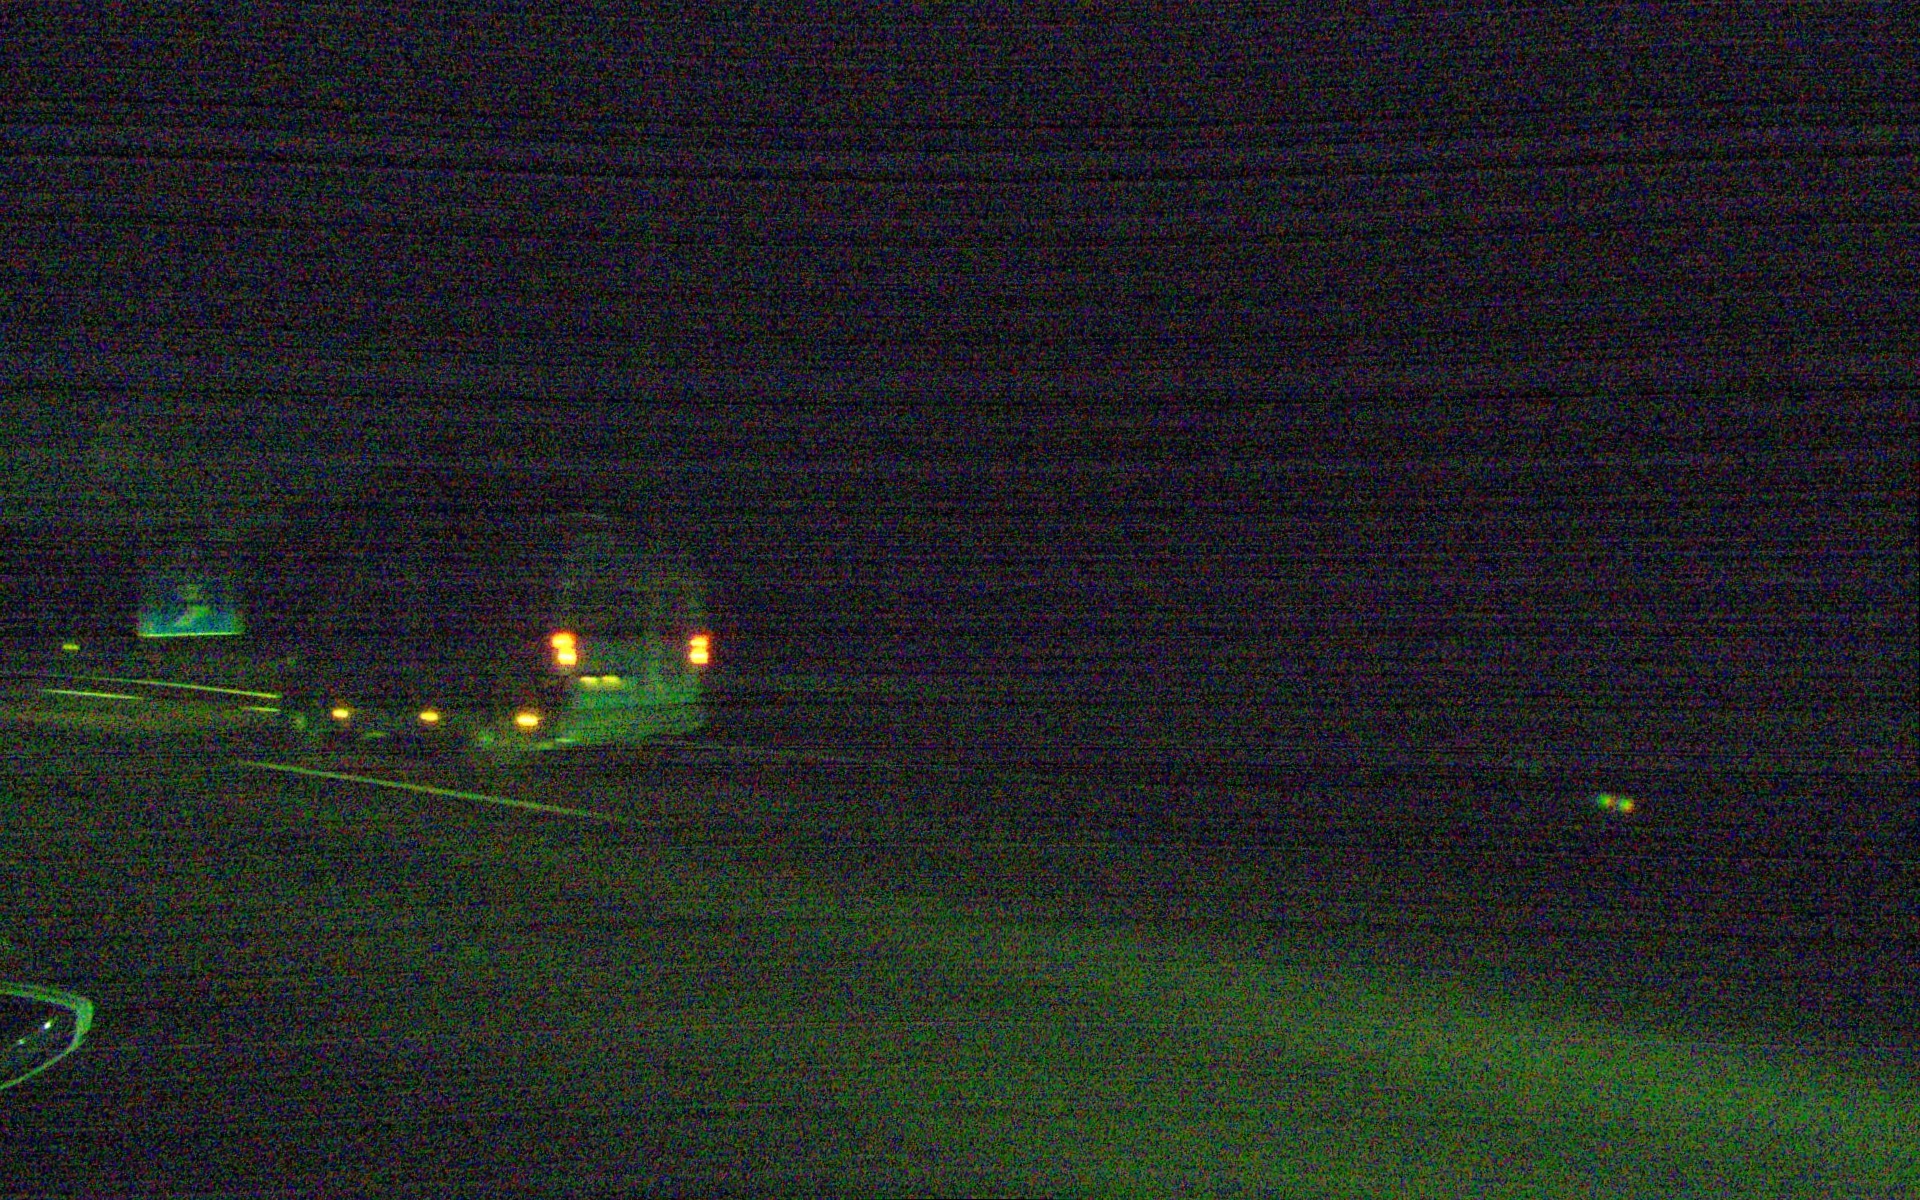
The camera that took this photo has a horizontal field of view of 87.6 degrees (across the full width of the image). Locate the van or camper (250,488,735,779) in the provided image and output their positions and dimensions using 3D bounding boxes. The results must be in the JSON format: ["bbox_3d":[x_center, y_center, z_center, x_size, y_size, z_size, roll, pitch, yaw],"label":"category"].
[{"bbox_3d":[-6.006,0.385,12.423,6.707,2.807,2.203,-1,-1,33],"label":"van or camper"}]
